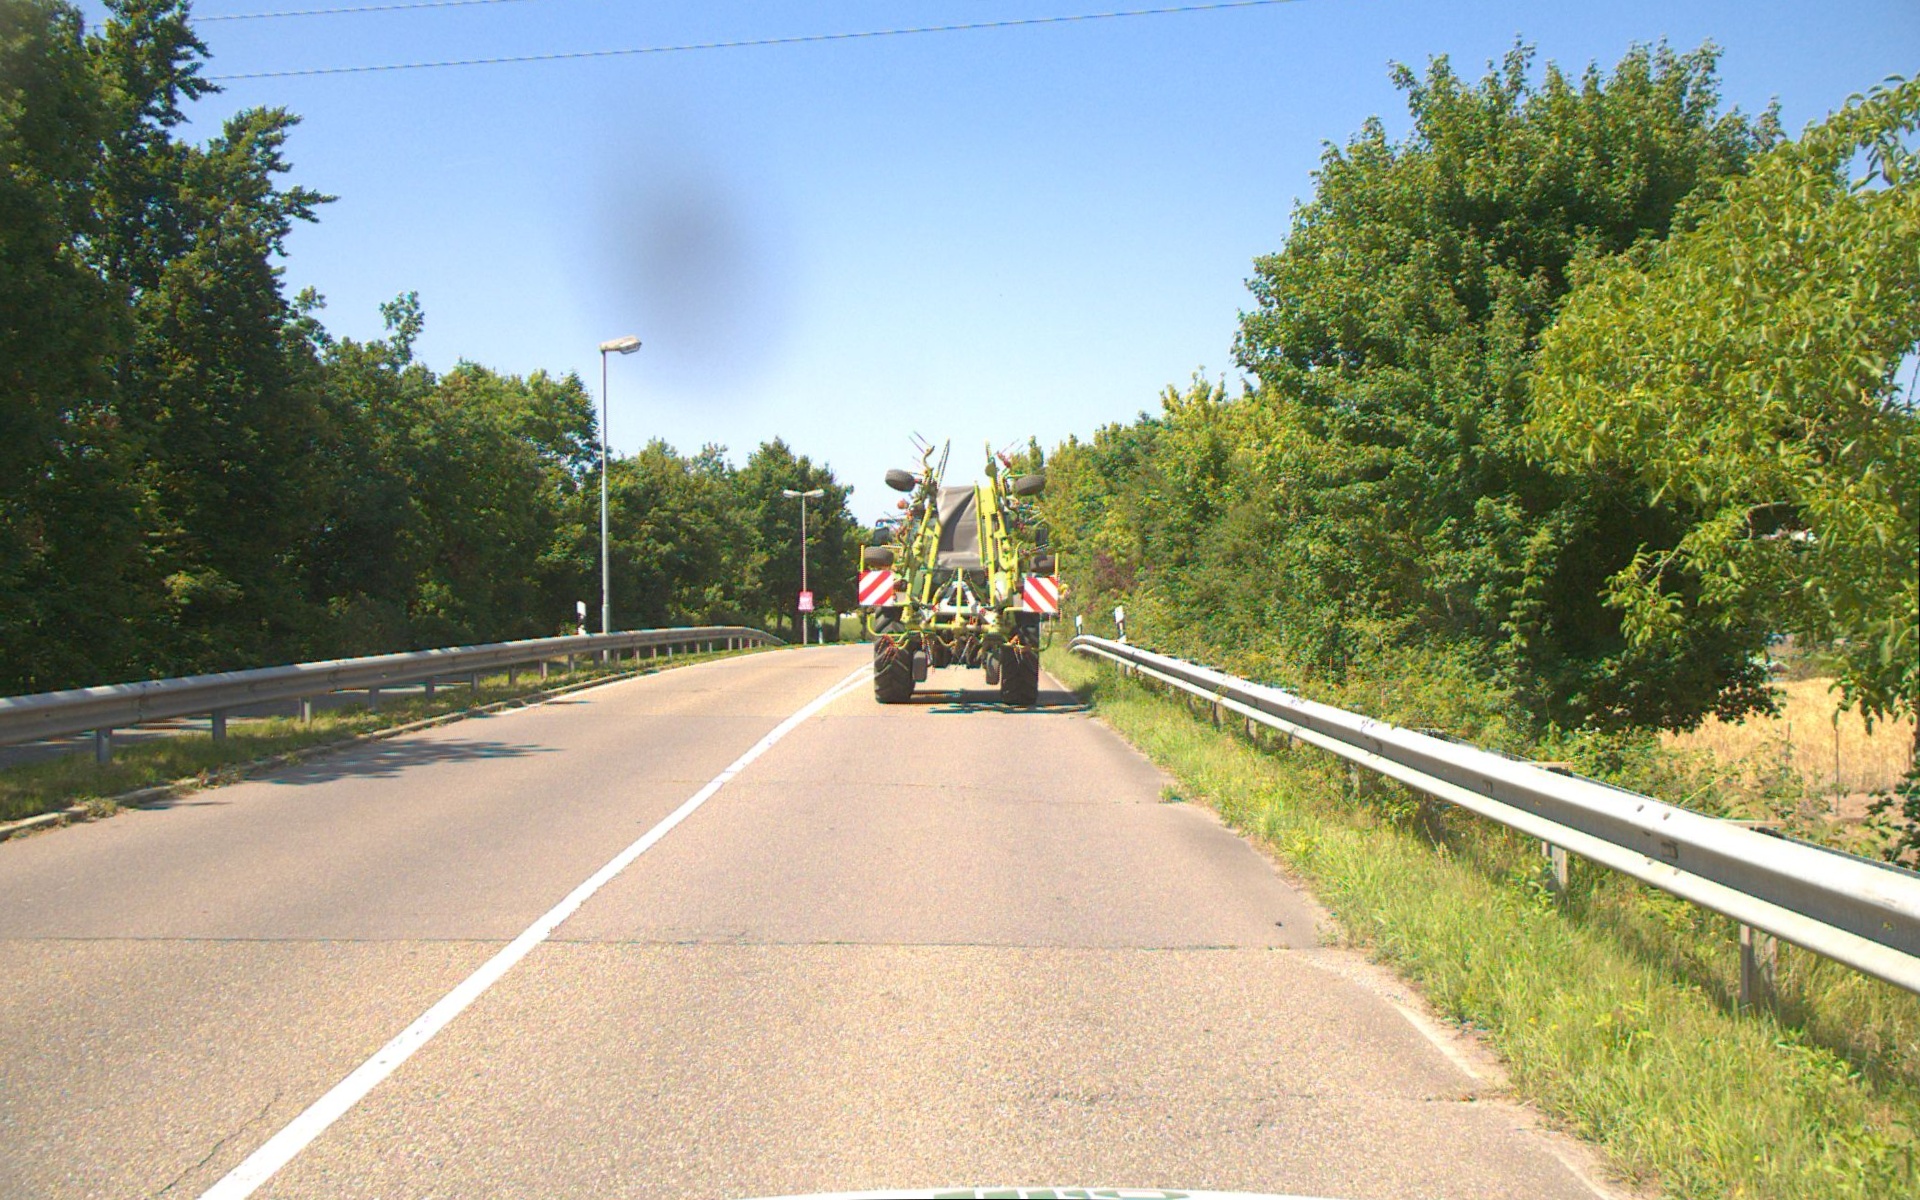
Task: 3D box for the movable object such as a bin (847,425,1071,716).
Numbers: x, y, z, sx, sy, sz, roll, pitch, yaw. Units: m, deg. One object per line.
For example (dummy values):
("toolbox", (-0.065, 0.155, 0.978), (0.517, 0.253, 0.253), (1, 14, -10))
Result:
("movable object such as a bin", (0.008, -0.399, 22.796), (2.698, 3.504, 5.670), (0, 1, 0))
